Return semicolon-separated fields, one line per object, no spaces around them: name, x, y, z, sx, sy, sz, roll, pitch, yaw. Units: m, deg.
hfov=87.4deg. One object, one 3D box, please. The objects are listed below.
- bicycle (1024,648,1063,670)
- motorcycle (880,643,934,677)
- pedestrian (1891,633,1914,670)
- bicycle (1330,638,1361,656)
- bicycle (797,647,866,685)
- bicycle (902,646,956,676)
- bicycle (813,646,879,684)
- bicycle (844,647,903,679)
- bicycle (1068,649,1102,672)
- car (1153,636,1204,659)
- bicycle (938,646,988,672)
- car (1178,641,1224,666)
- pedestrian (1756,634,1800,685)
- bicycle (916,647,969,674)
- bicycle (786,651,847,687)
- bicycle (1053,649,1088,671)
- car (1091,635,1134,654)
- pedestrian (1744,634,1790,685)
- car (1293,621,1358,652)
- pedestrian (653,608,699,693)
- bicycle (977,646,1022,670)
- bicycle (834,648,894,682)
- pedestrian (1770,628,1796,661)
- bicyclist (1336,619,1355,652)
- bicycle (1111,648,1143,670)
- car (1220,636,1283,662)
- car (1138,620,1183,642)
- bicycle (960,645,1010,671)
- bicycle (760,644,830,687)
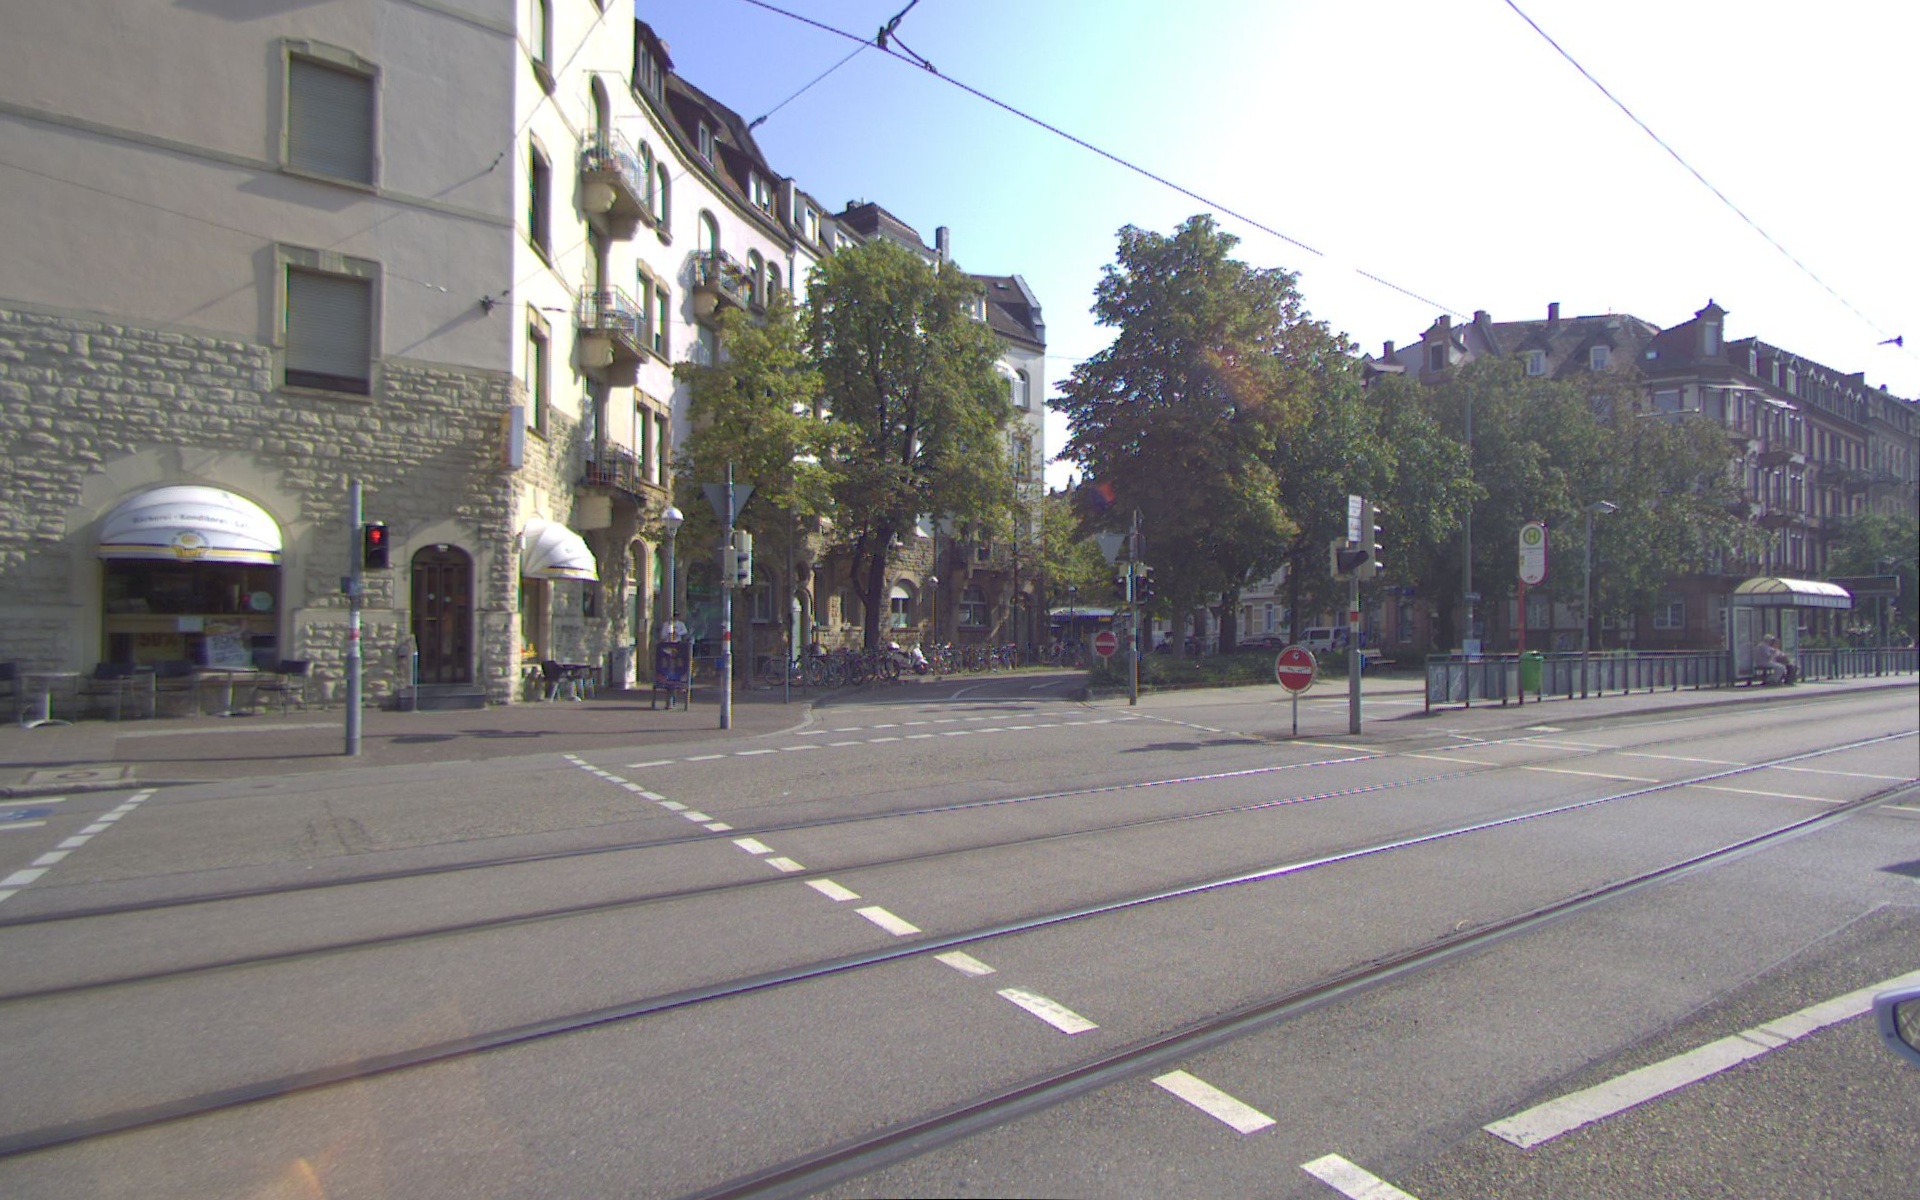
bicycle;3.812;2.708;45.988;1.740;0.990;0.519;-1;-2;33
motorcycle;-1.896;2.137;36.144;1.838;1.169;0.607;0;-2;21
pedestrian;45.273;2.452;48.255;0.766;1.753;0.743;2;-2;-44
bicycle;21.718;2.633;56.590;0.489;0.990;1.933;1;-2;-21
bicycle;-3.626;1.868;28.465;1.841;1.017;0.570;1;-2;1
bicycle;-1.140;2.221;36.977;1.842;1.041;0.664;0;-2;21
bicycle;-3.402;1.927;29.944;1.840;1.047;0.570;0;-2;16
bicycle;-2.793;2.029;32.522;1.768;0.996;0.661;0;-2;14
bicycle;5.679;2.728;45.532;1.753;0.990;0.421;1;-2;-36
car;15.926;3.439;73.412;1.966;1.590;4.326;1;-2;-13
bicycle;0.119;2.313;39.480;1.864;0.993;0.686;0;-2;21
car;18.835;4.194;78.639;1.966;1.852;3.990;1;-2;-13
pedestrian;22.674;1.628;27.843;0.770;1.376;0.821;2;-2;-39
bicycle;-0.663;2.287;38.159;1.874;0.947;0.738;0;-2;21
bicycle;-3.853;1.860;27.001;1.578;0.932;0.479;1;-2;-5
bicycle;5.002;2.716;45.495;1.753;0.990;0.421;1;-2;-36
car;12.926;3.780;85.158;1.968;1.590;4.321;1;-2;-17
pedestrian;21.903;1.602;27.257;0.770;1.376;0.821;2;-2;-39
car;22.550;2.230;62.115;1.966;1.852;3.990;1;-2;-13
pedestrian;-6.579;1.159;23.226;0.768;1.918;0.885;1;-2;-35
bicycle;1.647;2.416;41.993;1.848;0.947;0.636;-1;-2;37
bicycle;-2.982;2.012;31.322;1.768;0.997;0.570;0;-2;14
pedestrian;43.899;2.380;53.606;0.757;1.753;0.752;0;-2;-5
bicyclist;21.733;2.003;56.600;0.486;1.881;0.985;1;-2;-21
bicycle;7.973;2.817;47.997;0.597;0.990;1.758;1;-2;-27
car;18.531;3.100;63.959;1.966;1.590;4.325;1;-2;-14
car;17.000;2.614;85.325;1.971;1.852;3.980;1;-2;-22
bicycle;1.014;2.351;40.562;1.864;0.993;0.686;0;-2;21
bicycle;-4.529;1.801;27.608;1.847;1.127;0.568;1;-2;-15
